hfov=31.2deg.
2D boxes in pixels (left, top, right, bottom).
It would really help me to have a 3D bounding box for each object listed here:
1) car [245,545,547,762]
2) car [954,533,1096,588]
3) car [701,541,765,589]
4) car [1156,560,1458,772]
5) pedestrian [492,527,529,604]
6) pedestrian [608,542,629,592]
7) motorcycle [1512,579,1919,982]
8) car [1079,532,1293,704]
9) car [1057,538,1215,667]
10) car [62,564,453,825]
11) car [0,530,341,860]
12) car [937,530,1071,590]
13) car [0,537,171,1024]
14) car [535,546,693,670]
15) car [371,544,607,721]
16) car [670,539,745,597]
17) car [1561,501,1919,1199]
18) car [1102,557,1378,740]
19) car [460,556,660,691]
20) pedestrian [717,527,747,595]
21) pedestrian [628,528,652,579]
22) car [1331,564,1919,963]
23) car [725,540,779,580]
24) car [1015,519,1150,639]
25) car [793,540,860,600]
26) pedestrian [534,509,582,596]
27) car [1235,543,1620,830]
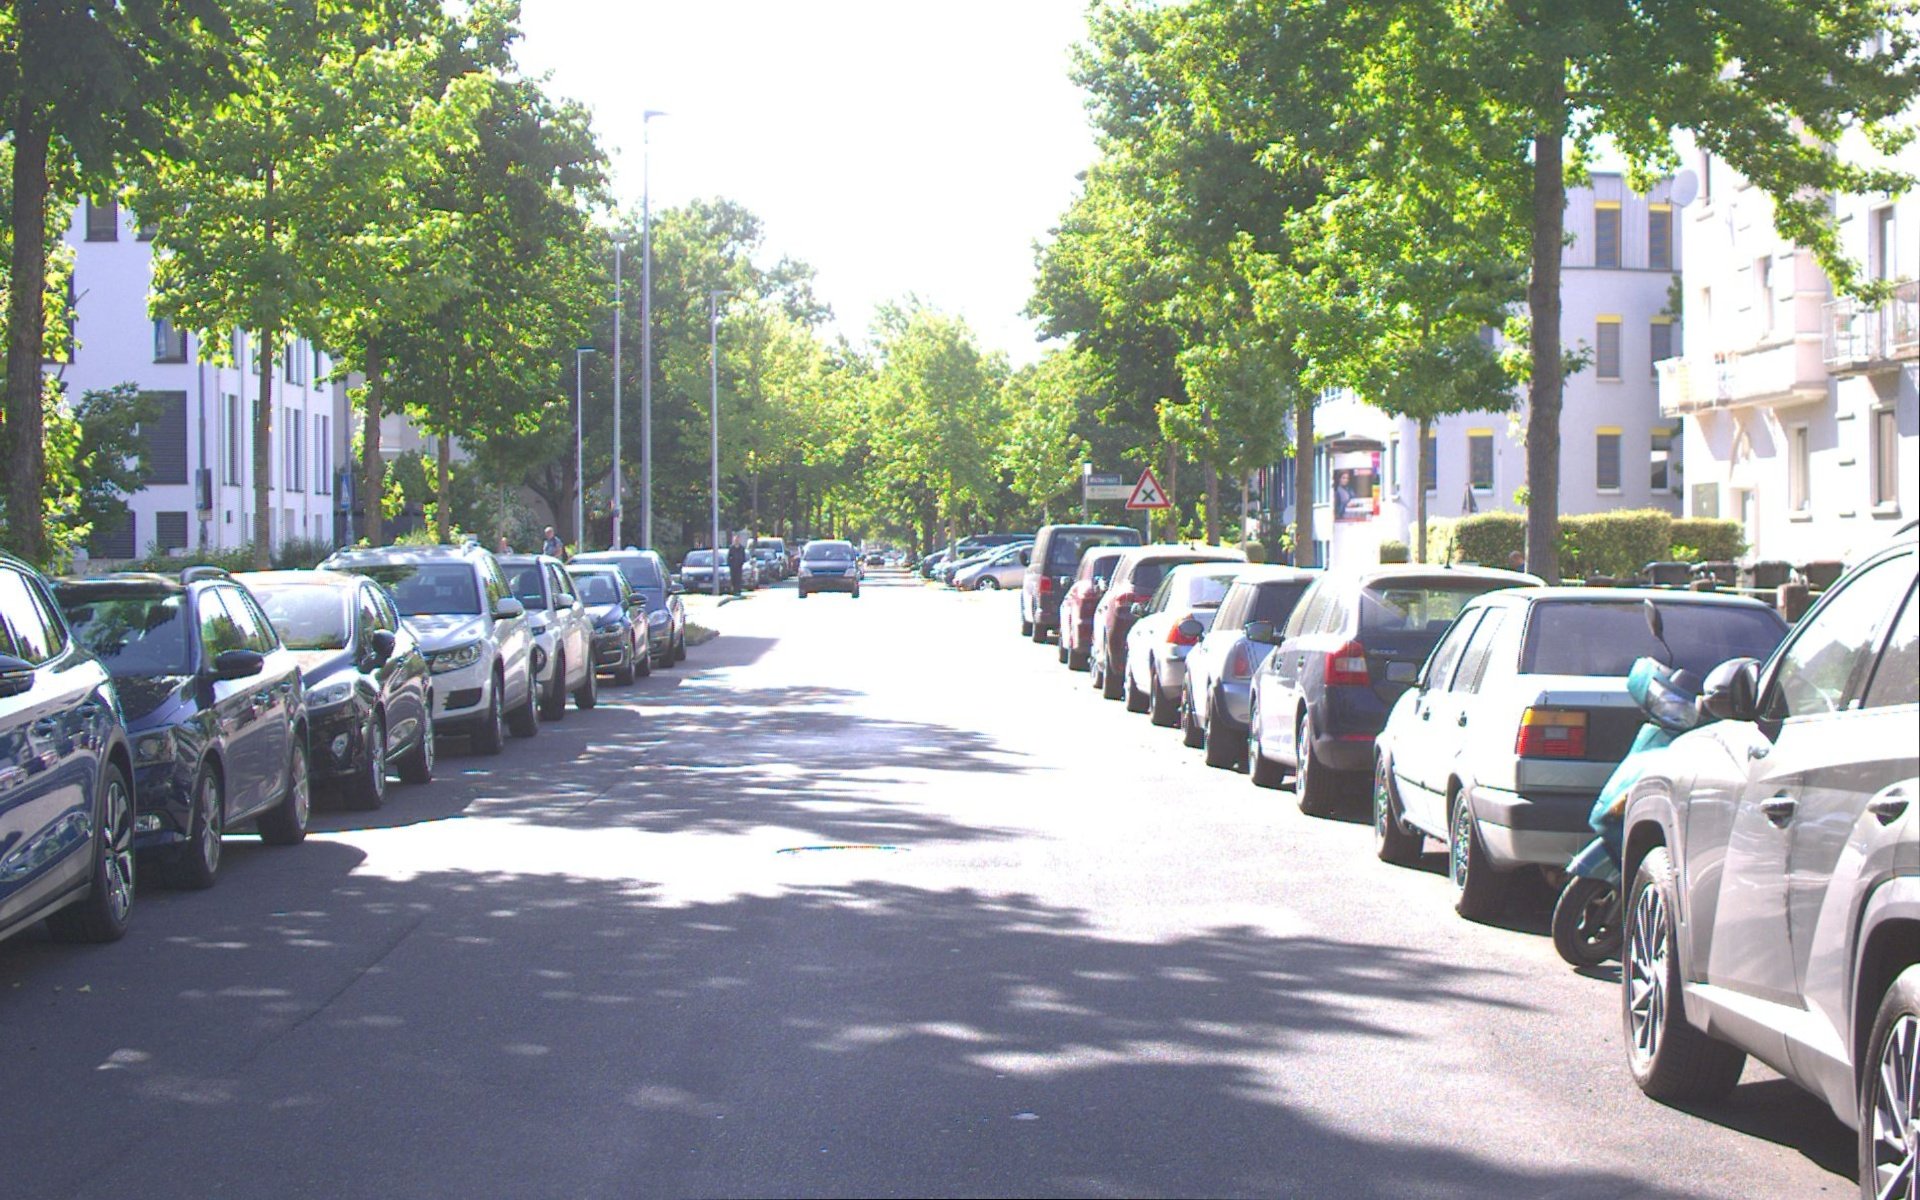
[{"bbox_3d":[-4.466,0.364,27.774,1.811,1.590,4.233,-1,1,-1],"label":"car"},{"bbox_3d":[1.888,-1.163,100.627,3.986,1.581,1.727,-1,1,-5],"label":"car"},{"bbox_3d":[-7.731,-1.203,117.362,1.993,1.579,4.000,0,1,-1],"label":"car"},{"bbox_3d":[2.541,0.441,25.970,1.788,1.448,3.782,1,1,-1],"label":"car"},{"bbox_3d":[-11.726,-0.899,89.633,0.859,2.007,0.981,0,1,-3],"label":"pedestrian"},{"bbox_3d":[-13.080,-1.263,131.535,0.762,1.894,0.819,-1,1,-7],"label":"pedestrian"},{"bbox_3d":[3.255,0.638,12.573,2.351,1.418,0.687,0,1,-1],"label":"motorcycle"},{"bbox_3d":[2.415,0.146,37.799,1.907,1.693,4.314,2,1,-1],"label":"car"},{"bbox_3d":[2.311,-0.004,46.065,1.834,1.594,4.158,2,1,0],"label":"car"},{"bbox_3d":[-4.396,0.533,22.059,1.762,1.439,3.909,-2,1,-2],"label":"car"},{"bbox_3d":[-4.374,0.401,17.310,1.829,1.448,4.123,-1,1,-1],"label":"car"},{"bbox_3d":[1.347,-1.226,105.841,3.986,1.799,1.890,-1,1,-3],"label":"car"},{"bbox_3d":[-4.094,0.607,12.178,1.789,1.561,4.466,-3,1,-4],"label":"car"},{"bbox_3d":[-4.781,0.078,47.975,1.839,1.589,4.263,-2,1,-2],"label":"car"},{"bbox_3d":[-4.482,0.266,33.194,1.710,1.539,3.930,-2,1,0],"label":"car"},{"bbox_3d":[-7.475,-0.964,102.076,1.993,1.665,4.000,0,1,-1],"label":"car"},{"bbox_3d":[2.824,0.629,8.090,1.926,1.646,5.095,2,1,1],"label":"car"},{"bbox_3d":[2.479,0.383,31.534,1.897,1.469,4.700,3,1,-2],"label":"car"},{"bbox_3d":[-4.812,0.245,41.905,1.993,1.448,4.263,-3,1,-2],"label":"car"},{"bbox_3d":[-6.340,-1.083,95.698,0.715,1.894,0.837,-1,1,-11],"label":"pedestrian"},{"bbox_3d":[-12.571,-1.823,135.050,0.859,2.007,0.981,-1,1,-8],"label":"pedestrian"},{"bbox_3d":[2.861,0.614,15.609,1.750,1.449,4.462,2,1,-1],"label":"car"},{"bbox_3d":[-8.394,-1.628,139.142,1.993,1.579,4.000,0,1,-1],"label":"car"},{"bbox_3d":[2.031,-0.375,58.287,1.971,1.942,4.986,0,1,-2],"label":"car"},{"bbox_3d":[-3.707,-0.846,94.695,1.783,1.603,4.001,-1,1,-3],"label":"car"},{"bbox_3d":[-9.349,-1.099,79.972,0.859,2.007,0.981,0,1,8],"label":"pedestrian"},{"bbox_3d":[2.765,0.443,21.248,1.692,1.535,4.441,1,1,-1],"label":"car"}]
